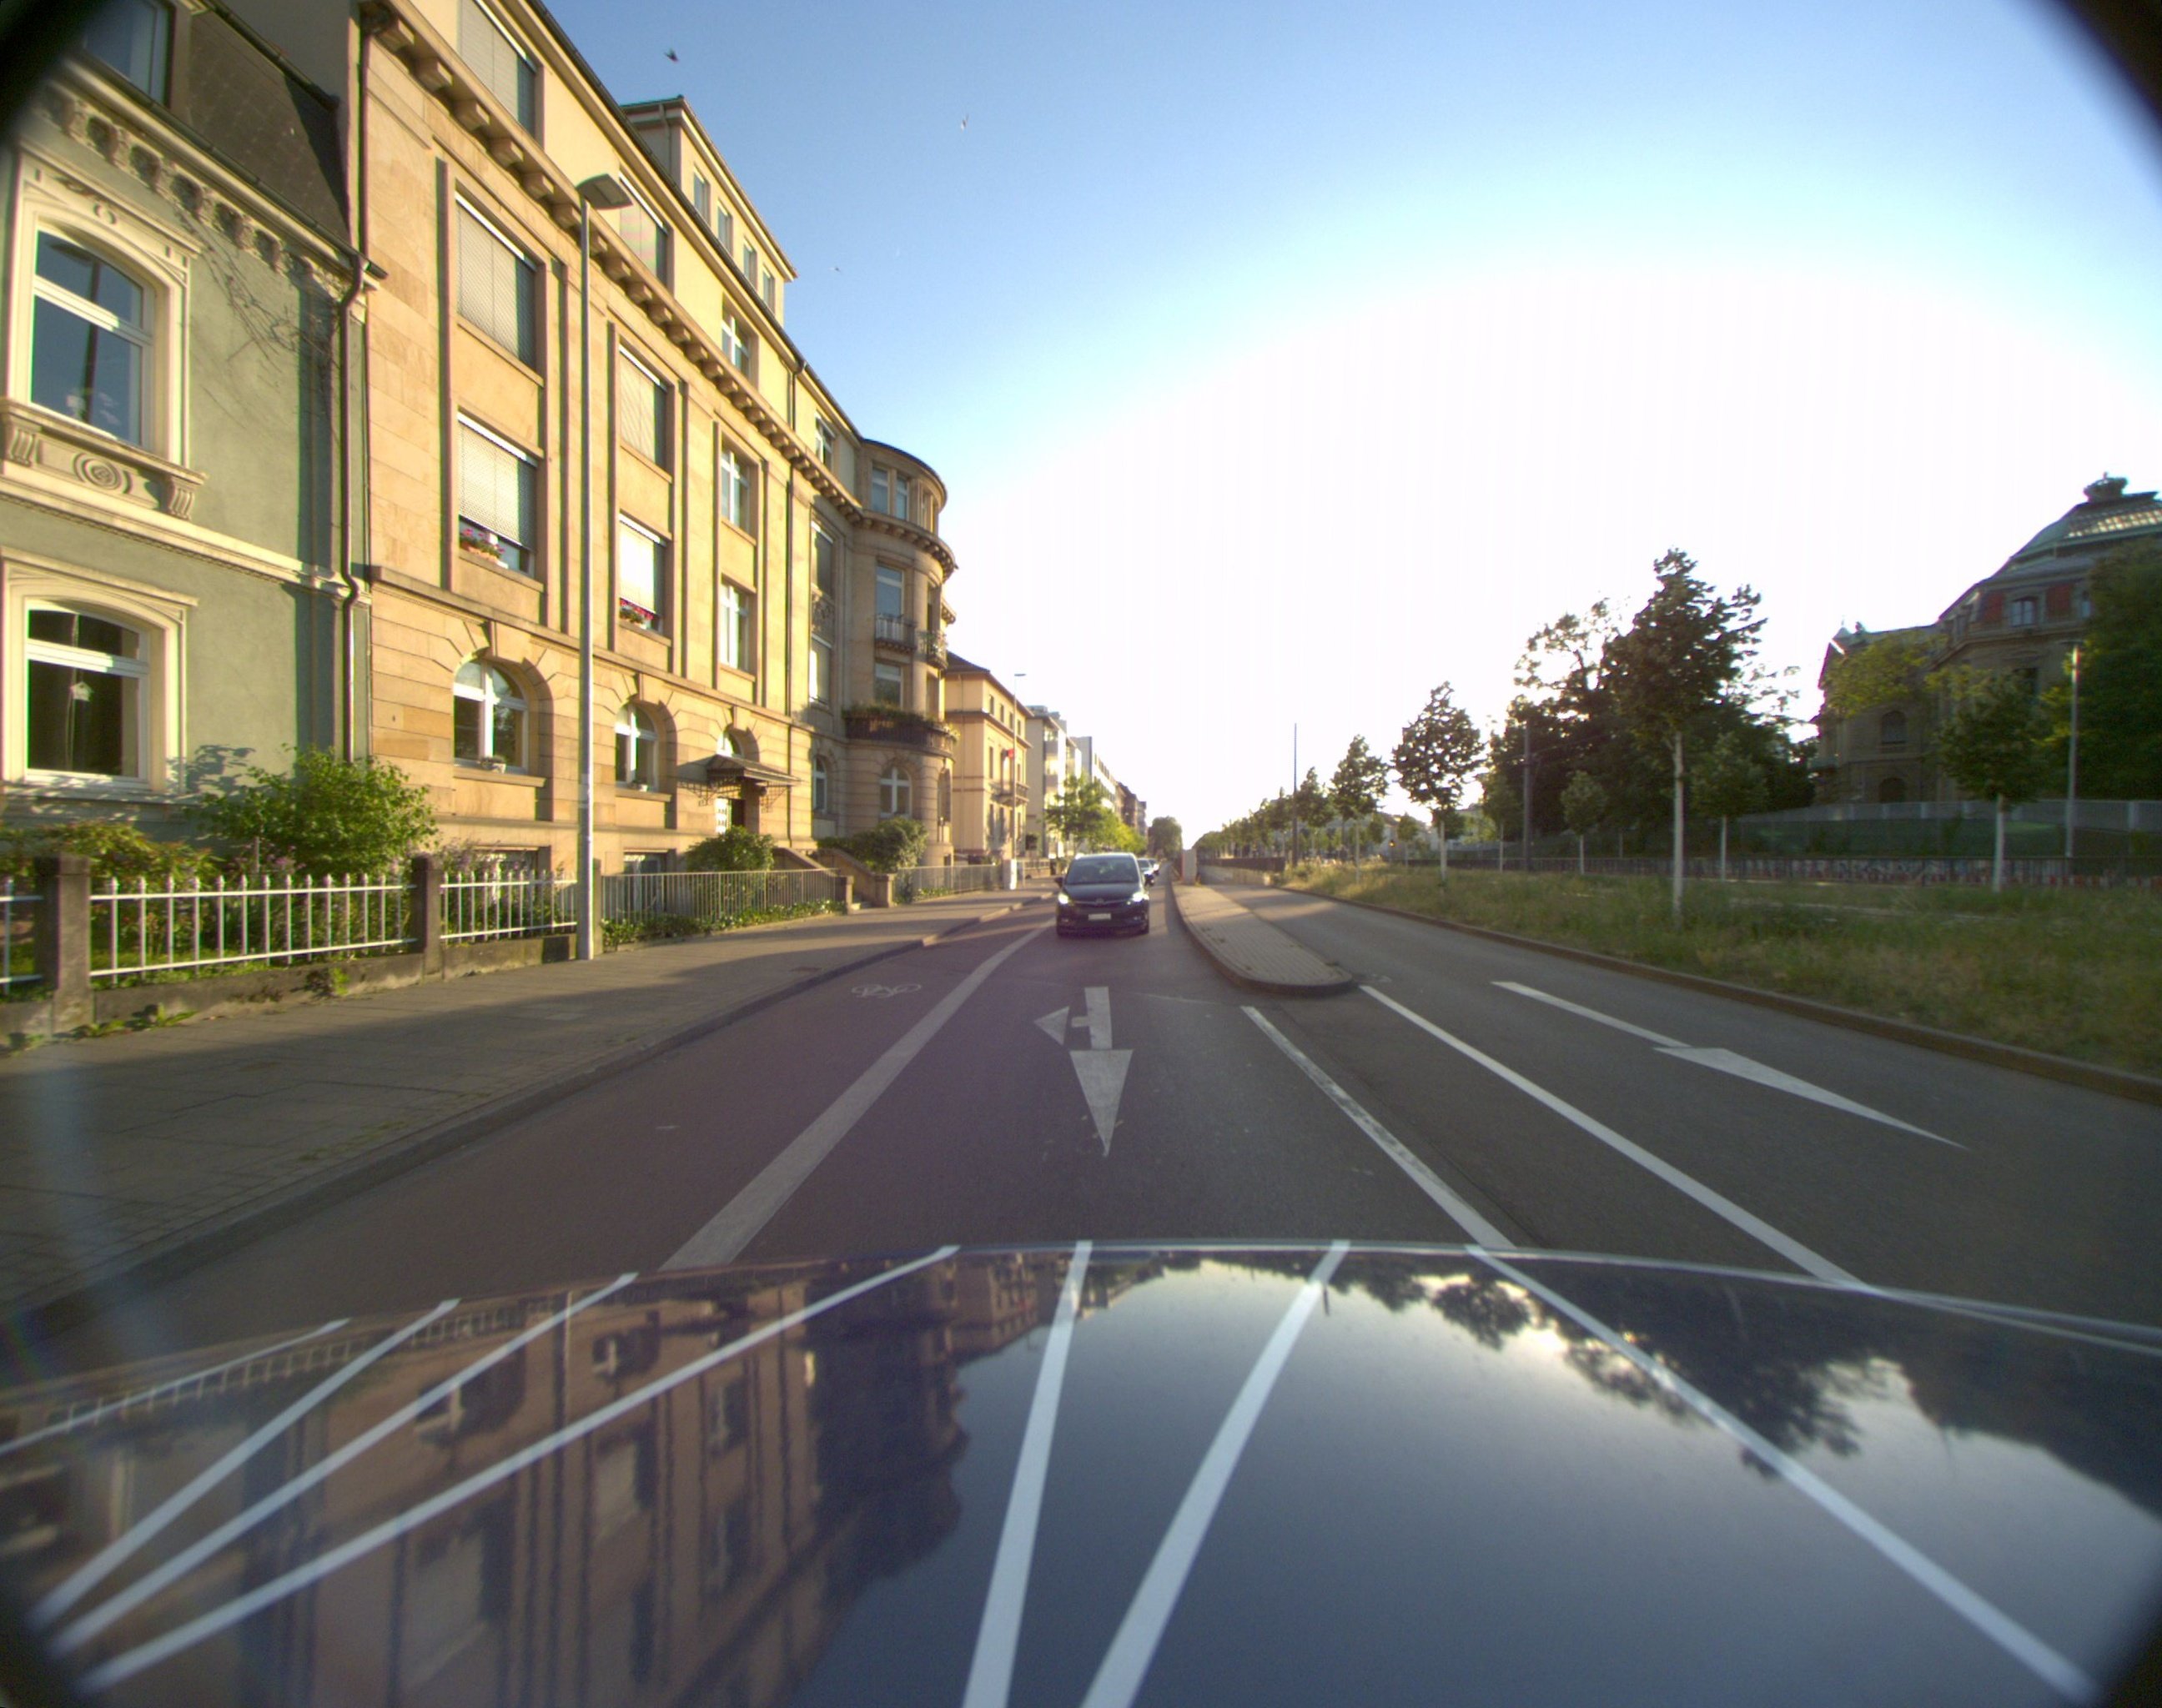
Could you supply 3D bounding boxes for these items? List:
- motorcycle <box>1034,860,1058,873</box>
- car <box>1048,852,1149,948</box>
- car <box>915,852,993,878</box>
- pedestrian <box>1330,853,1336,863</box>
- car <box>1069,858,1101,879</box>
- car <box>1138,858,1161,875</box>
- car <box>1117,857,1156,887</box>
[{"bbox_3d":[-2.781,0.997,60.914,1.847,1.090,0.576,-1,0,12],"label":"motorcycle"},{"bbox_3d":[0.489,0.796,15.692,1.770,1.649,4.854,0,0,4],"label":"car"},{"bbox_3d":[-7.462,0.636,44.868,4.095,1.472,1.939,-1,0,7],"label":"car"},{"bbox_3d":[48.870,0.813,147.507,0.811,1.836,0.838,-2,0,1],"label":"pedestrian"},{"bbox_3d":[0.307,0.998,53.340,1.881,1.394,4.102,-1,0,5],"label":"car"},{"bbox_3d":[5.957,1.102,65.842,1.858,1.425,4.846,-1,-1,6],"label":"car"},{"bbox_3d":[2.932,0.926,39.511,1.858,1.425,4.846,-1,-1,6],"label":"car"}]
